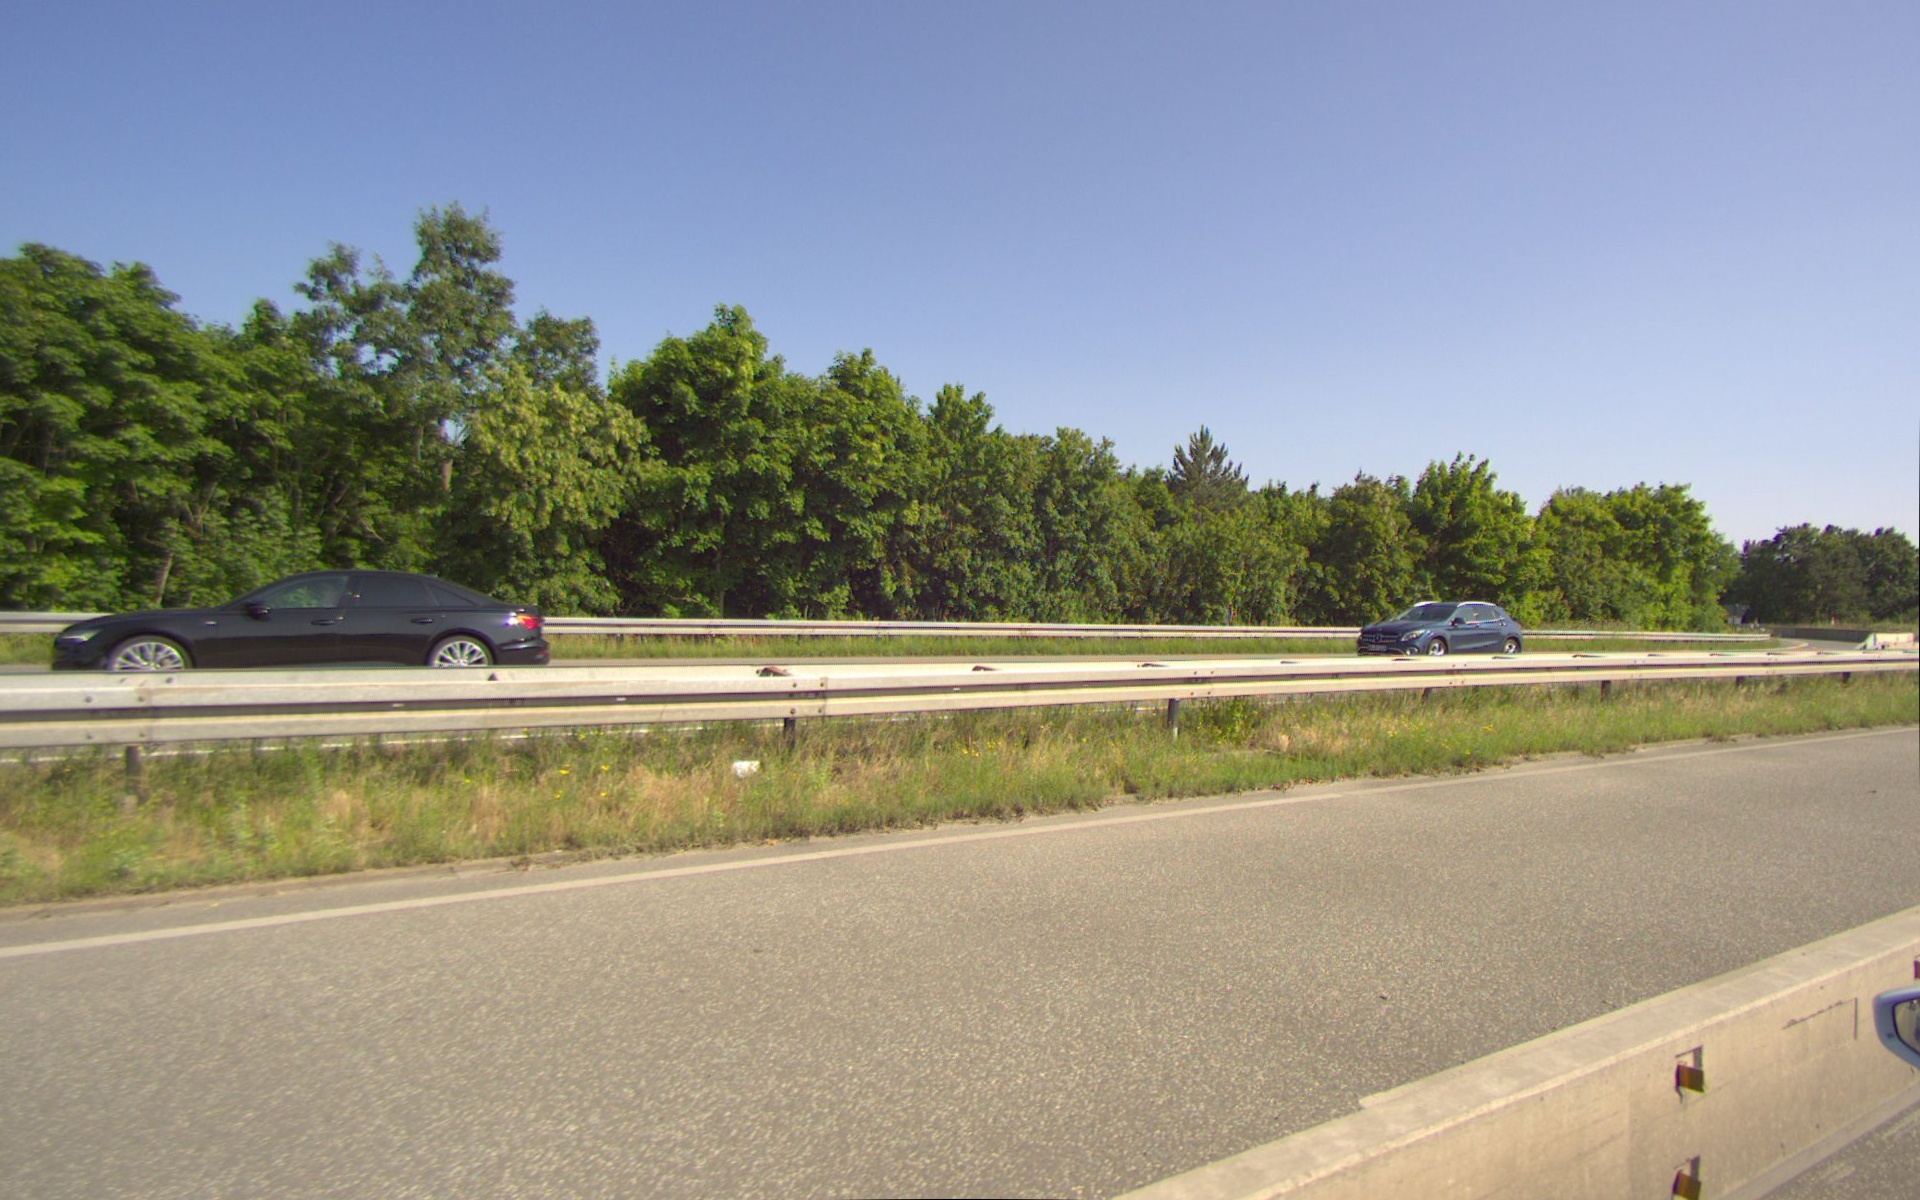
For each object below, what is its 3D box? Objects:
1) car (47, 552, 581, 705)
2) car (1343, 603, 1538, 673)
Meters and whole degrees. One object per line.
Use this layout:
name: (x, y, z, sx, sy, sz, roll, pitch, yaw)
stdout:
car: (-7.290, 0.354, 11.958, 4.964, 1.508, 1.807, 1, -1, -30)
car: (11.179, 0.866, 23.308, 4.537, 1.453, 1.789, 1, 0, -29)
